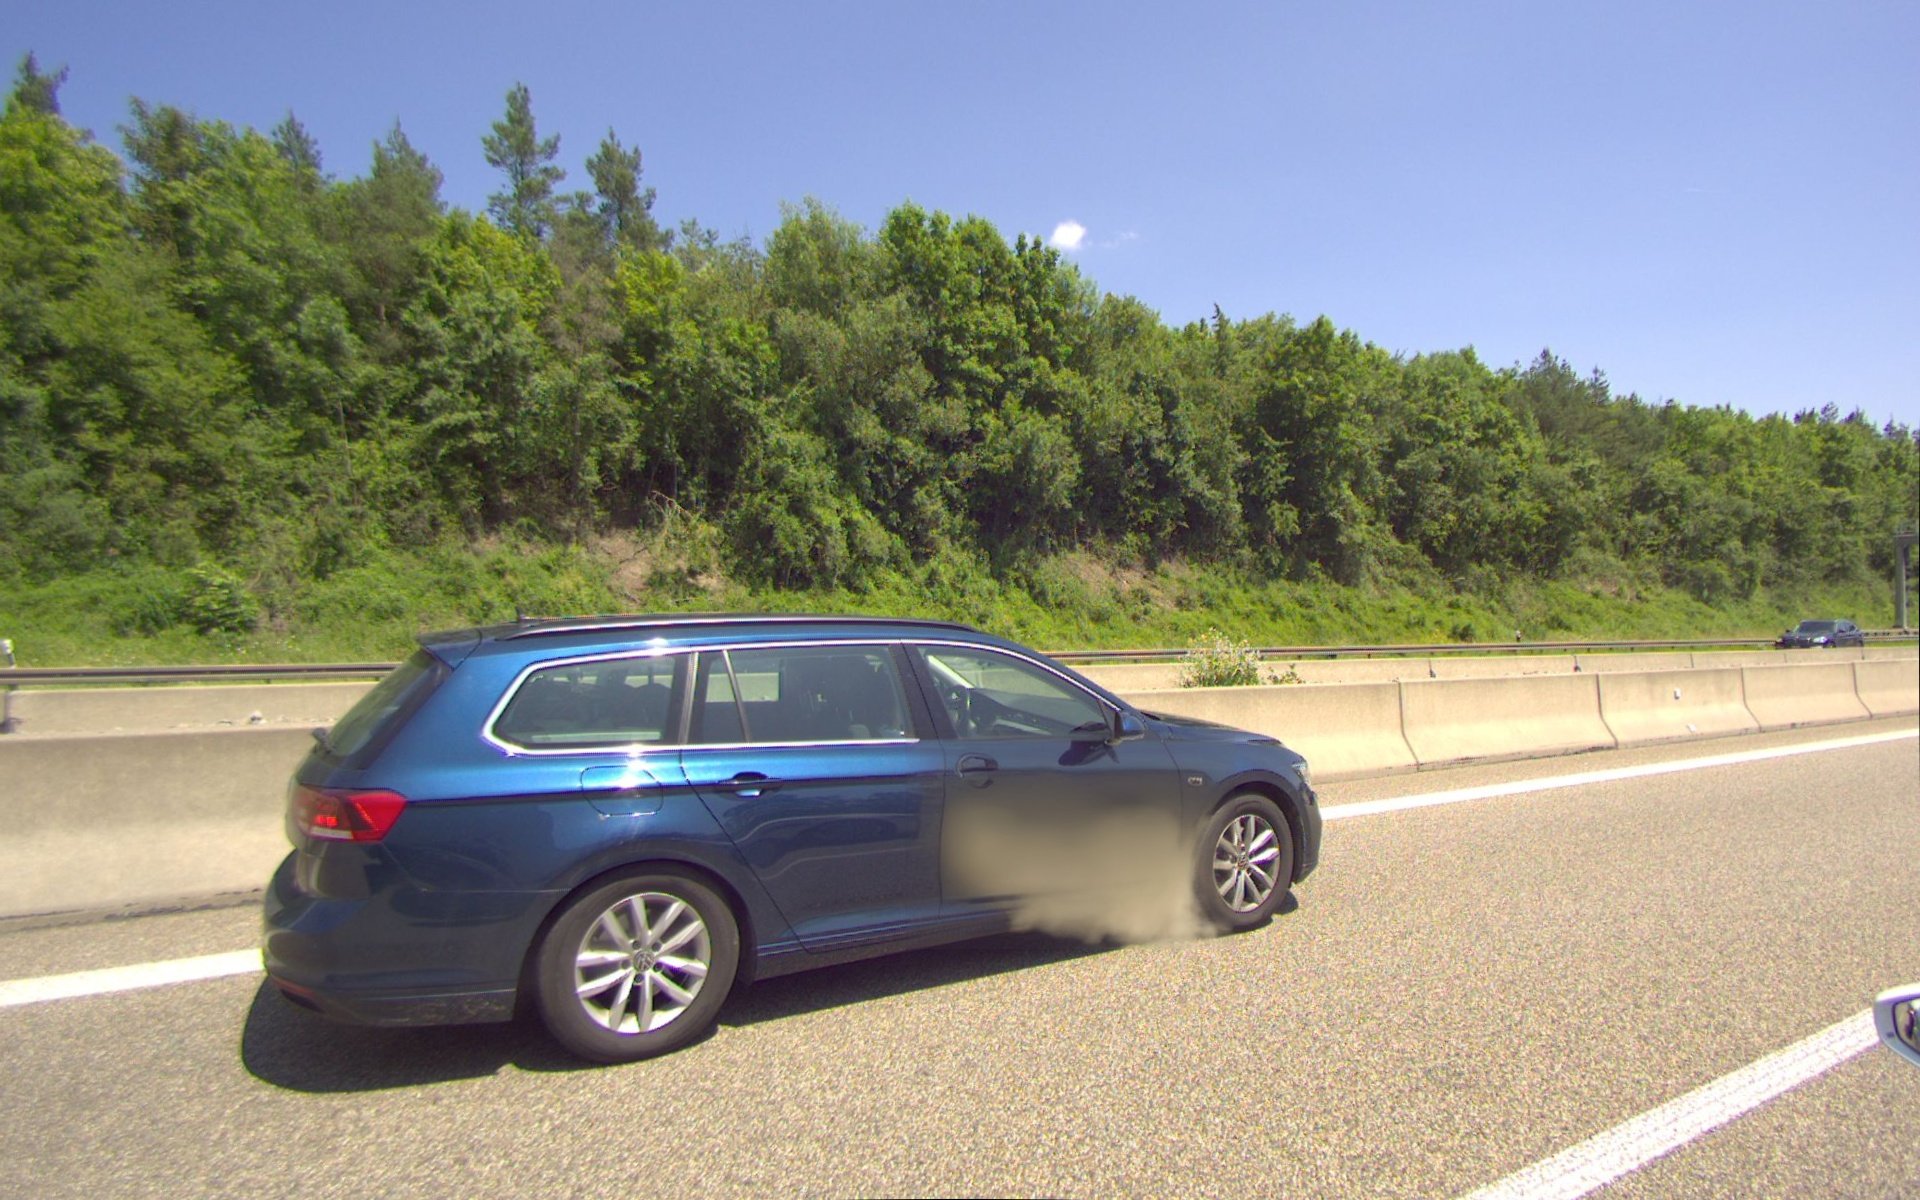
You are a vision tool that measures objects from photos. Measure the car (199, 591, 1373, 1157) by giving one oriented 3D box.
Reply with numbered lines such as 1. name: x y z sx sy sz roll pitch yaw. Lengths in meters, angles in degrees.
1. car: -0.430 0.756 4.596 4.623 1.469 1.865 1 0 -30

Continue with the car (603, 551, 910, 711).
1. car: -2.958 0.445 14.746 3.956 2.040 1.982 2 0 -32

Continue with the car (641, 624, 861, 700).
1. car: -4.190 1.189 20.158 3.949 1.352 1.986 1 -1 -28

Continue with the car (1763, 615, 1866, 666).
1. car: 36.764 1.728 43.208 4.428 2.040 2.102 2 0 -32
